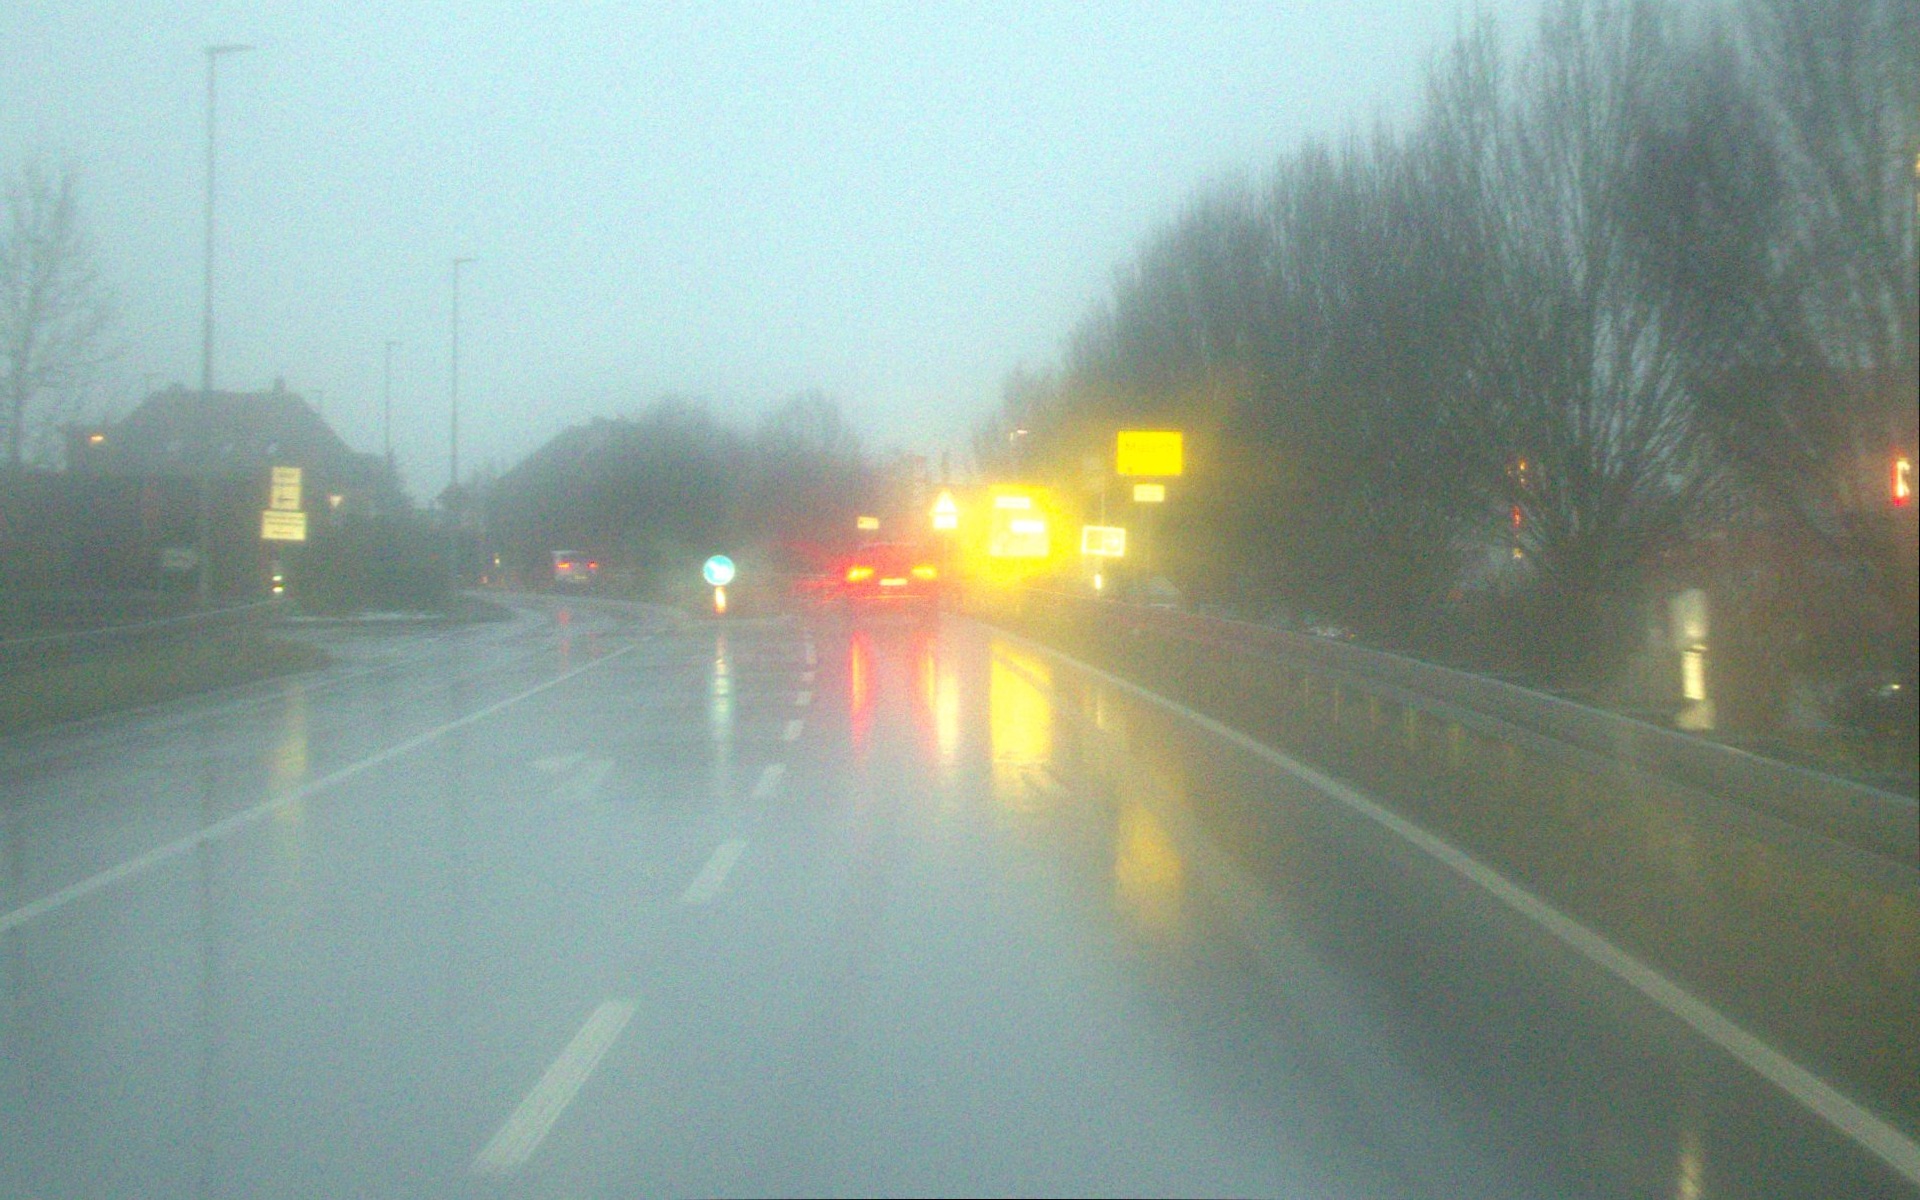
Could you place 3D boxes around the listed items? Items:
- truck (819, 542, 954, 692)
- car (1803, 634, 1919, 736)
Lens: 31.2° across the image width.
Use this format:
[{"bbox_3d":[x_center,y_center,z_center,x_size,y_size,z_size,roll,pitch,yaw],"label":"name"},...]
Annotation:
[{"bbox_3d":[-1.542,0.287,69.468,2.531,2.859,5.923,1,1,-2],"label":"truck"},{"bbox_3d":[14.159,1.240,49.523,3.535,1.419,1.663,1,-1,-10],"label":"car"}]
